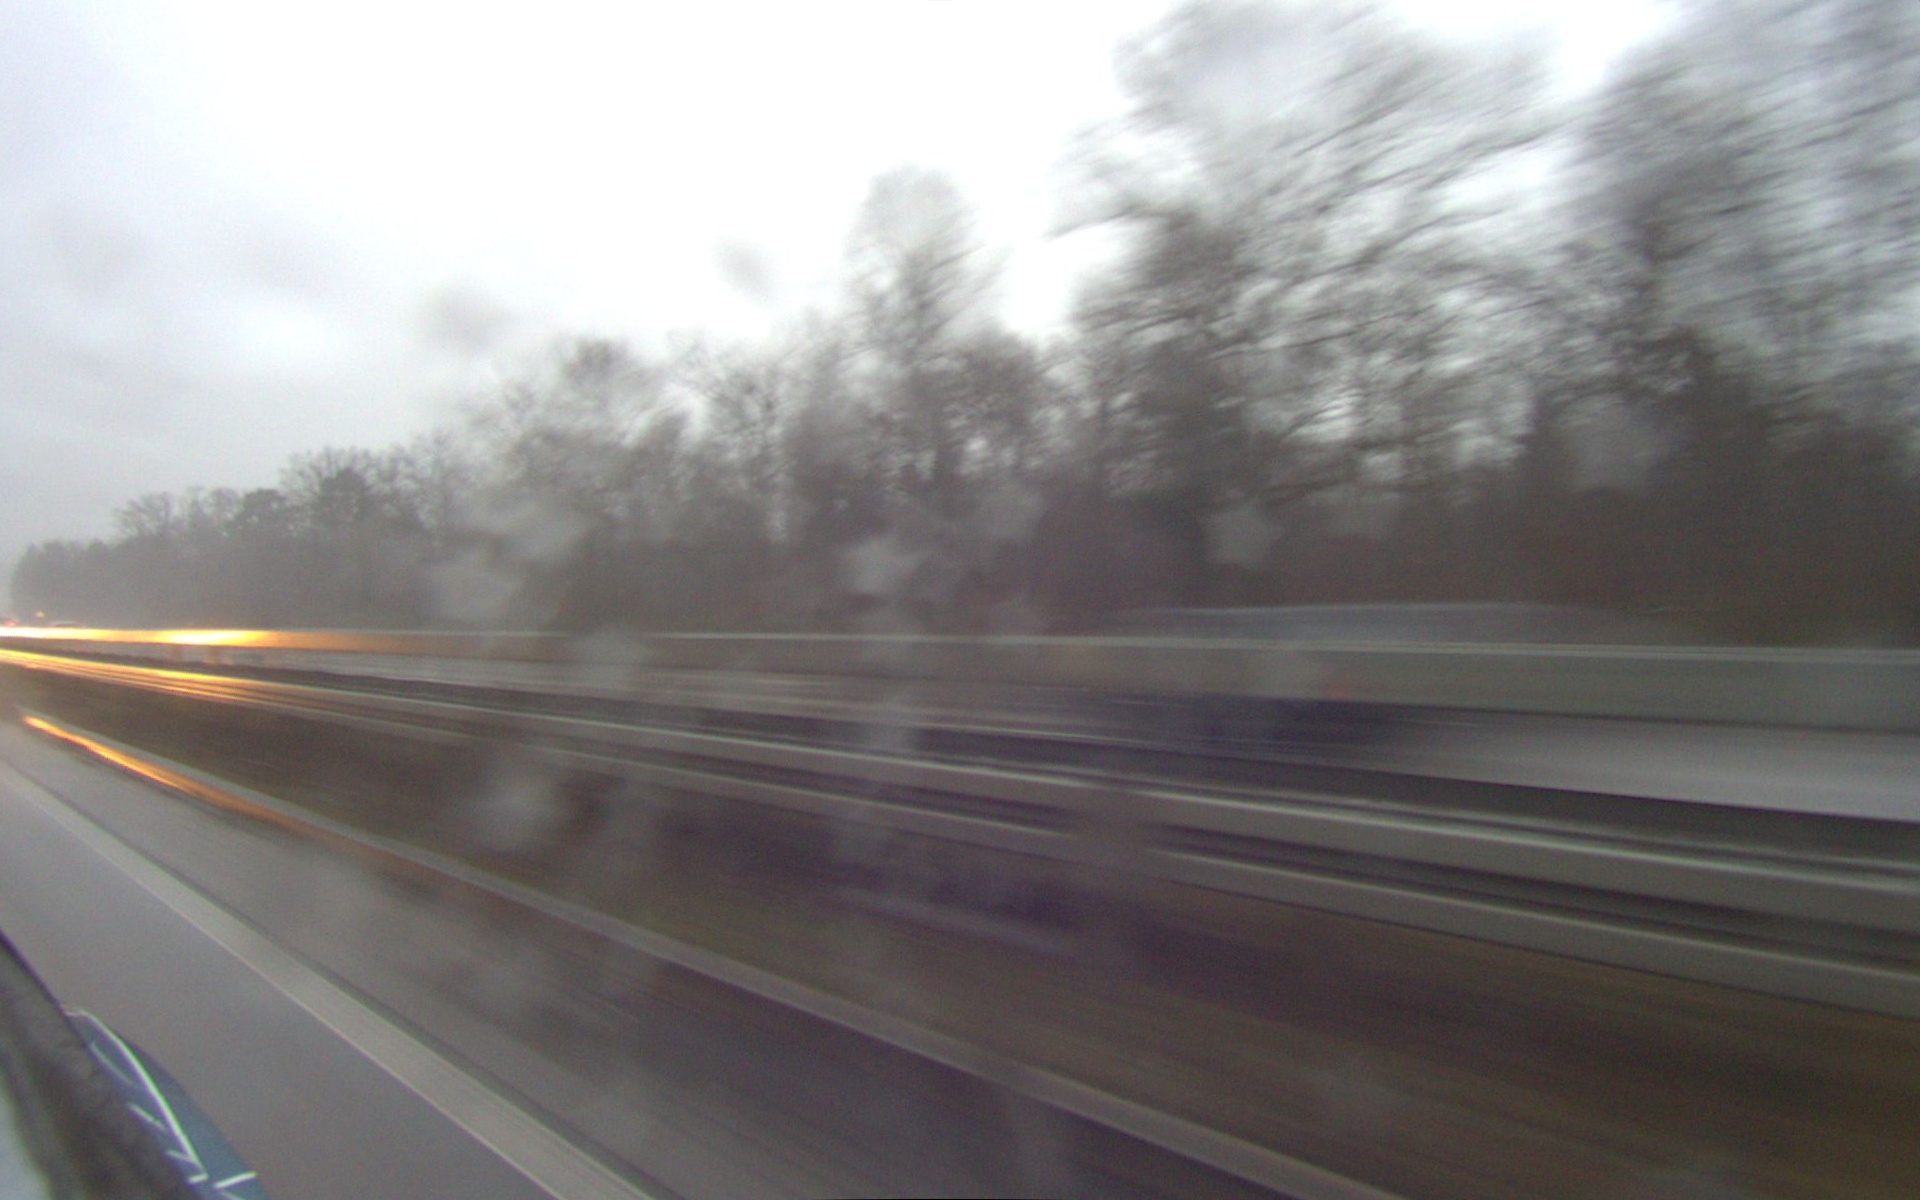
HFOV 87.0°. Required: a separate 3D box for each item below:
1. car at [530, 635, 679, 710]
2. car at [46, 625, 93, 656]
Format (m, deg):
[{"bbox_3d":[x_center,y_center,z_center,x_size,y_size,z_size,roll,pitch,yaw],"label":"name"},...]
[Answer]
[{"bbox_3d":[-6.451,1.254,18.253,2.880,1.177,1.260,-1,0,41],"label":"car"},{"bbox_3d":[-57.129,2.554,64.909,3.910,1.849,1.739,-1,0,41],"label":"car"}]
